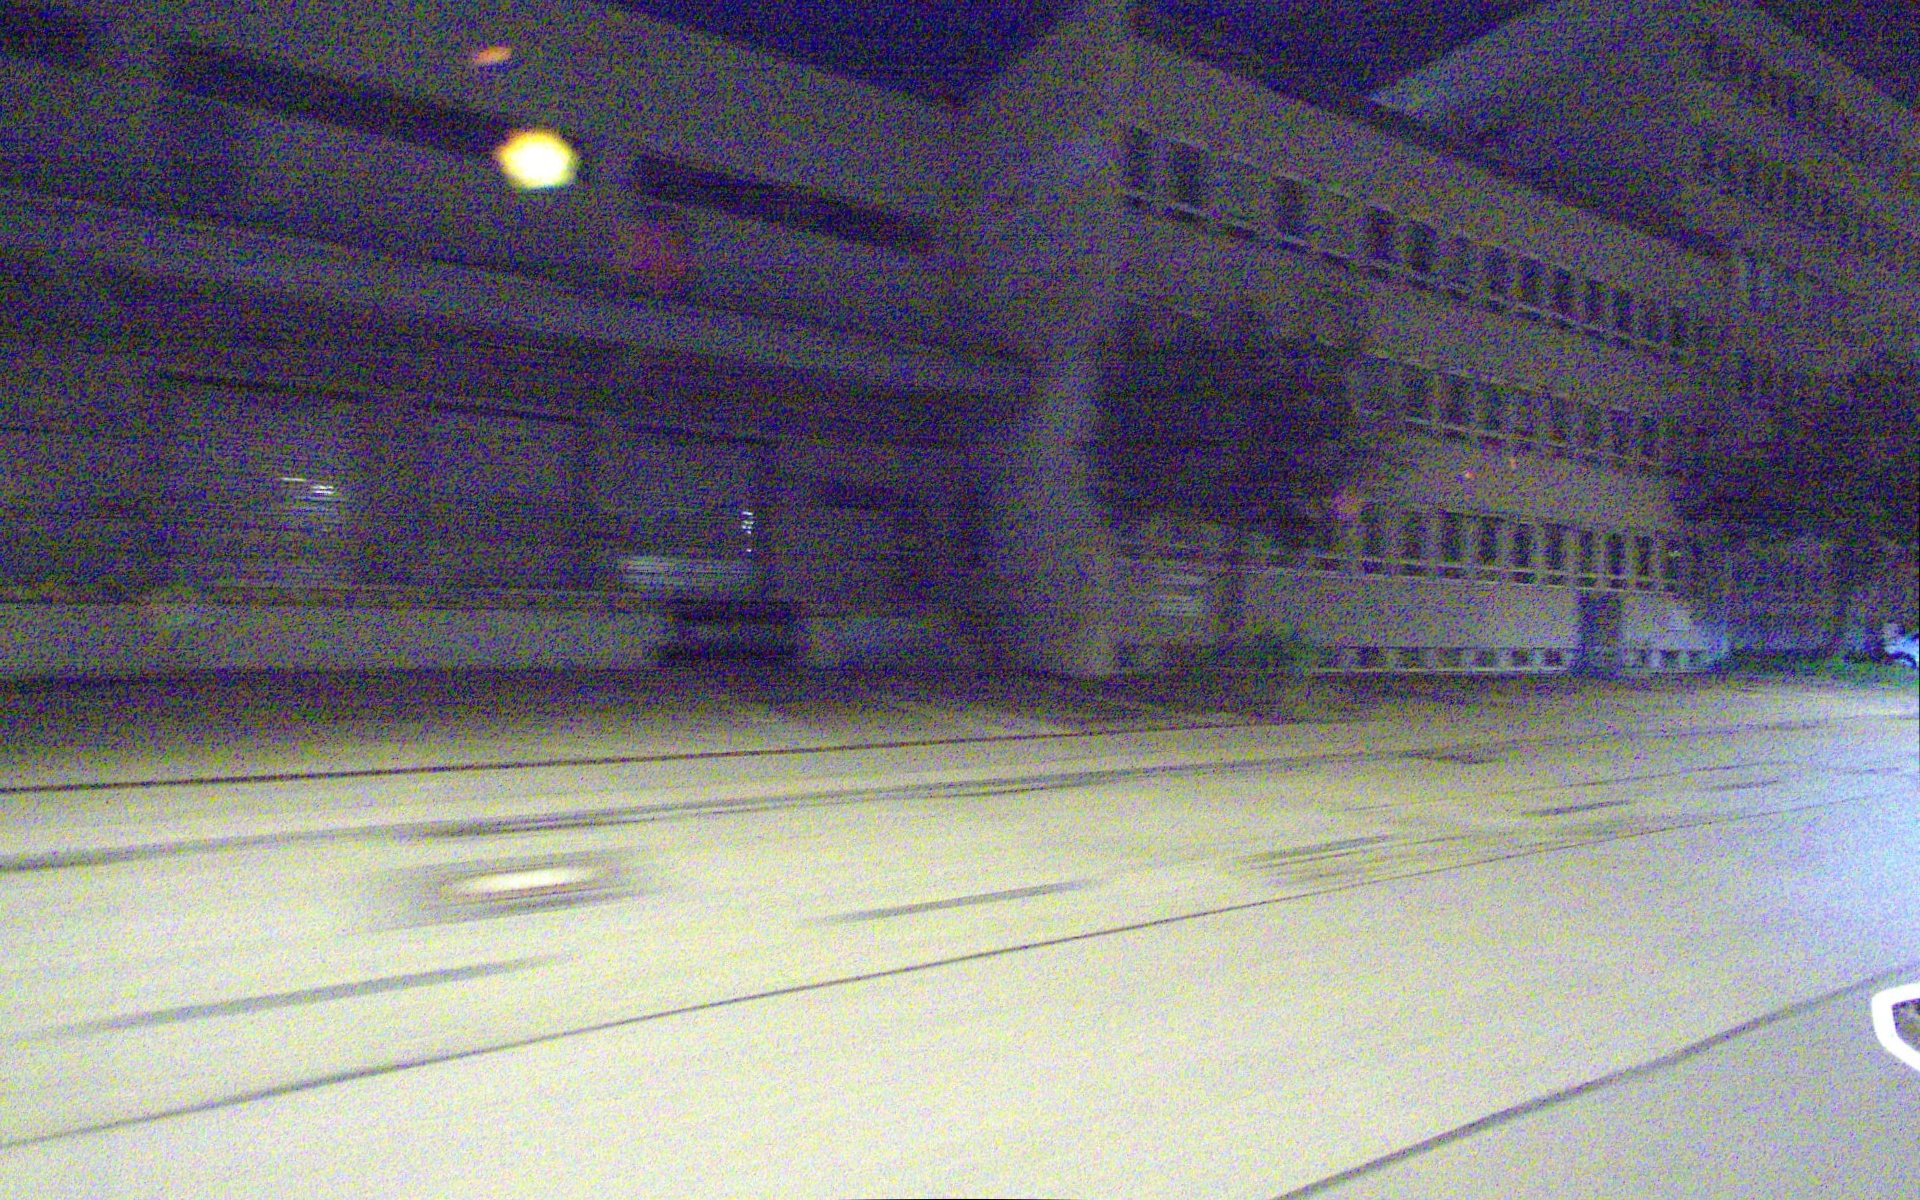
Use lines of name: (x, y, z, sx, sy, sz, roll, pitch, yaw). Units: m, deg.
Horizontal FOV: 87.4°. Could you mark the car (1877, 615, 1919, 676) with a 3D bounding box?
car: (33.443, 1.581, 33.029, 1.976, 1.998, 4.412, 2, 1, -29)
